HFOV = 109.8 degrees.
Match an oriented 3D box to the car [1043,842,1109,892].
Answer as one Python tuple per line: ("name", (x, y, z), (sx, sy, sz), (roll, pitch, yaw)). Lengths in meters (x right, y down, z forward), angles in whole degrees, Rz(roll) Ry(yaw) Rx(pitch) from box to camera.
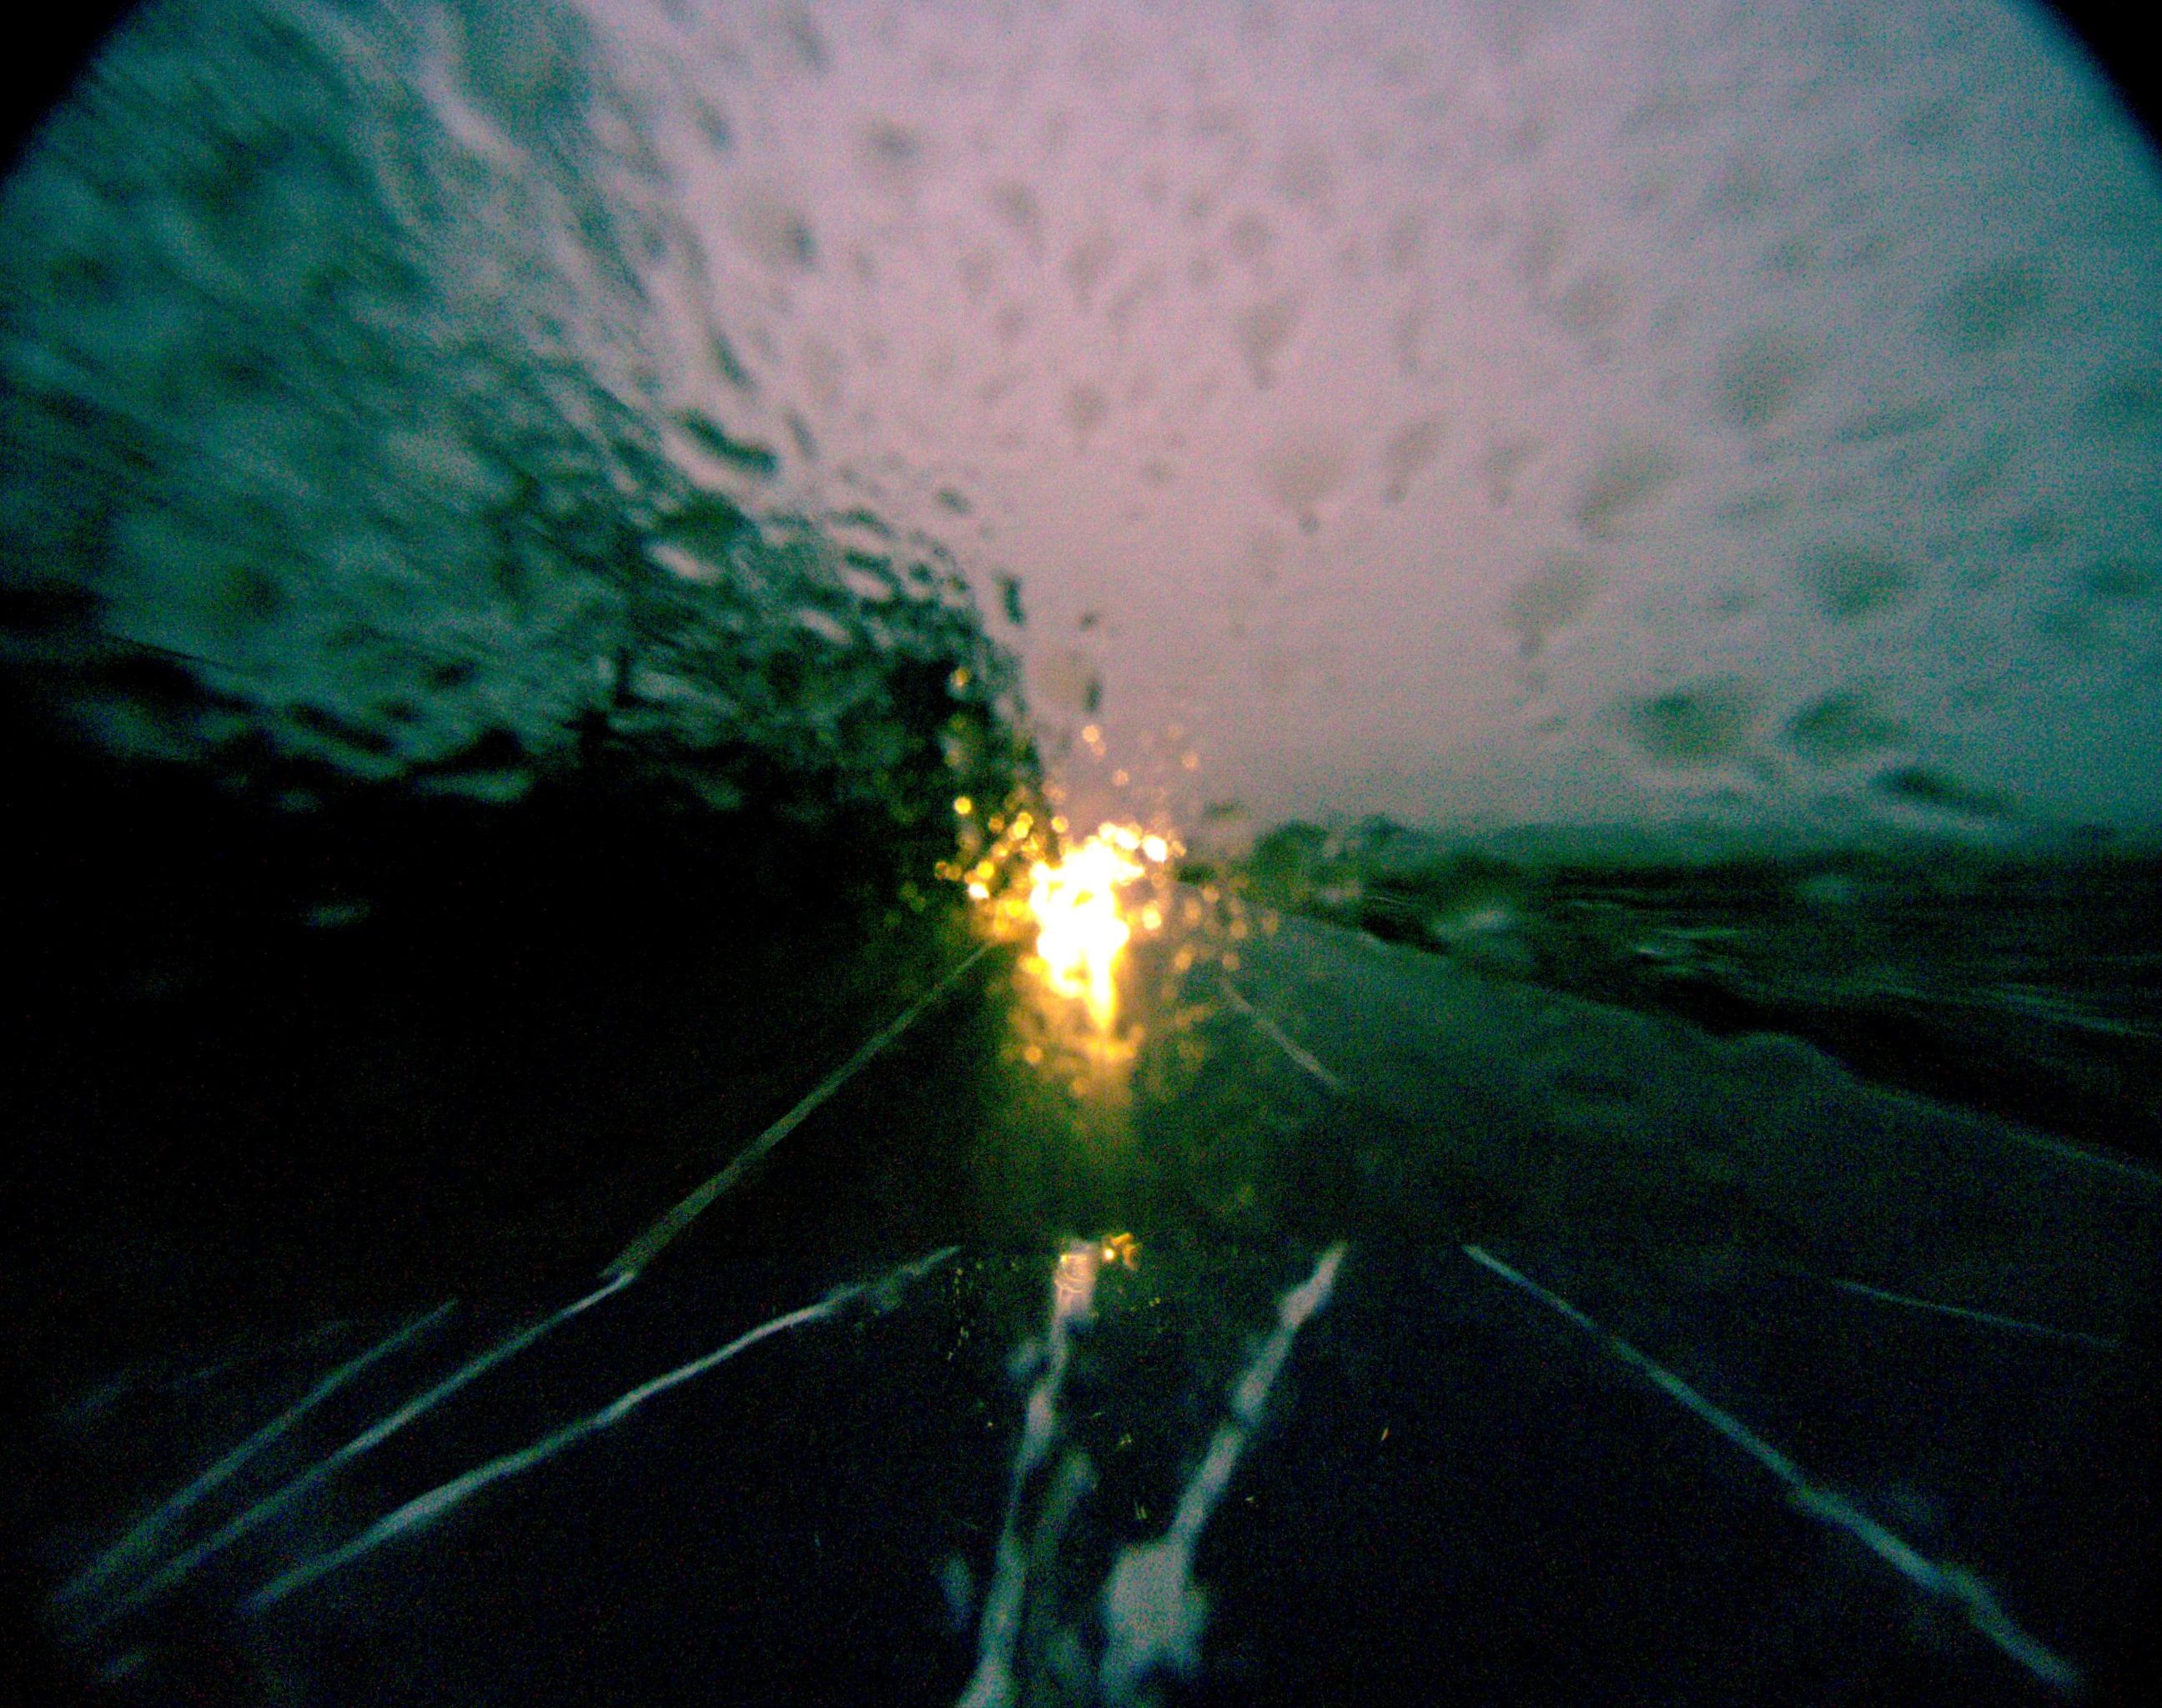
("car", (-0.121, 0.511, 34.710), (2.704, 1.974, 5.804), (-2, 1, 2))

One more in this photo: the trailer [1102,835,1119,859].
("trailer", (5.214, -1.174, 135.101), (2.708, 4.056, 12.381), (-1, 0, 1))
